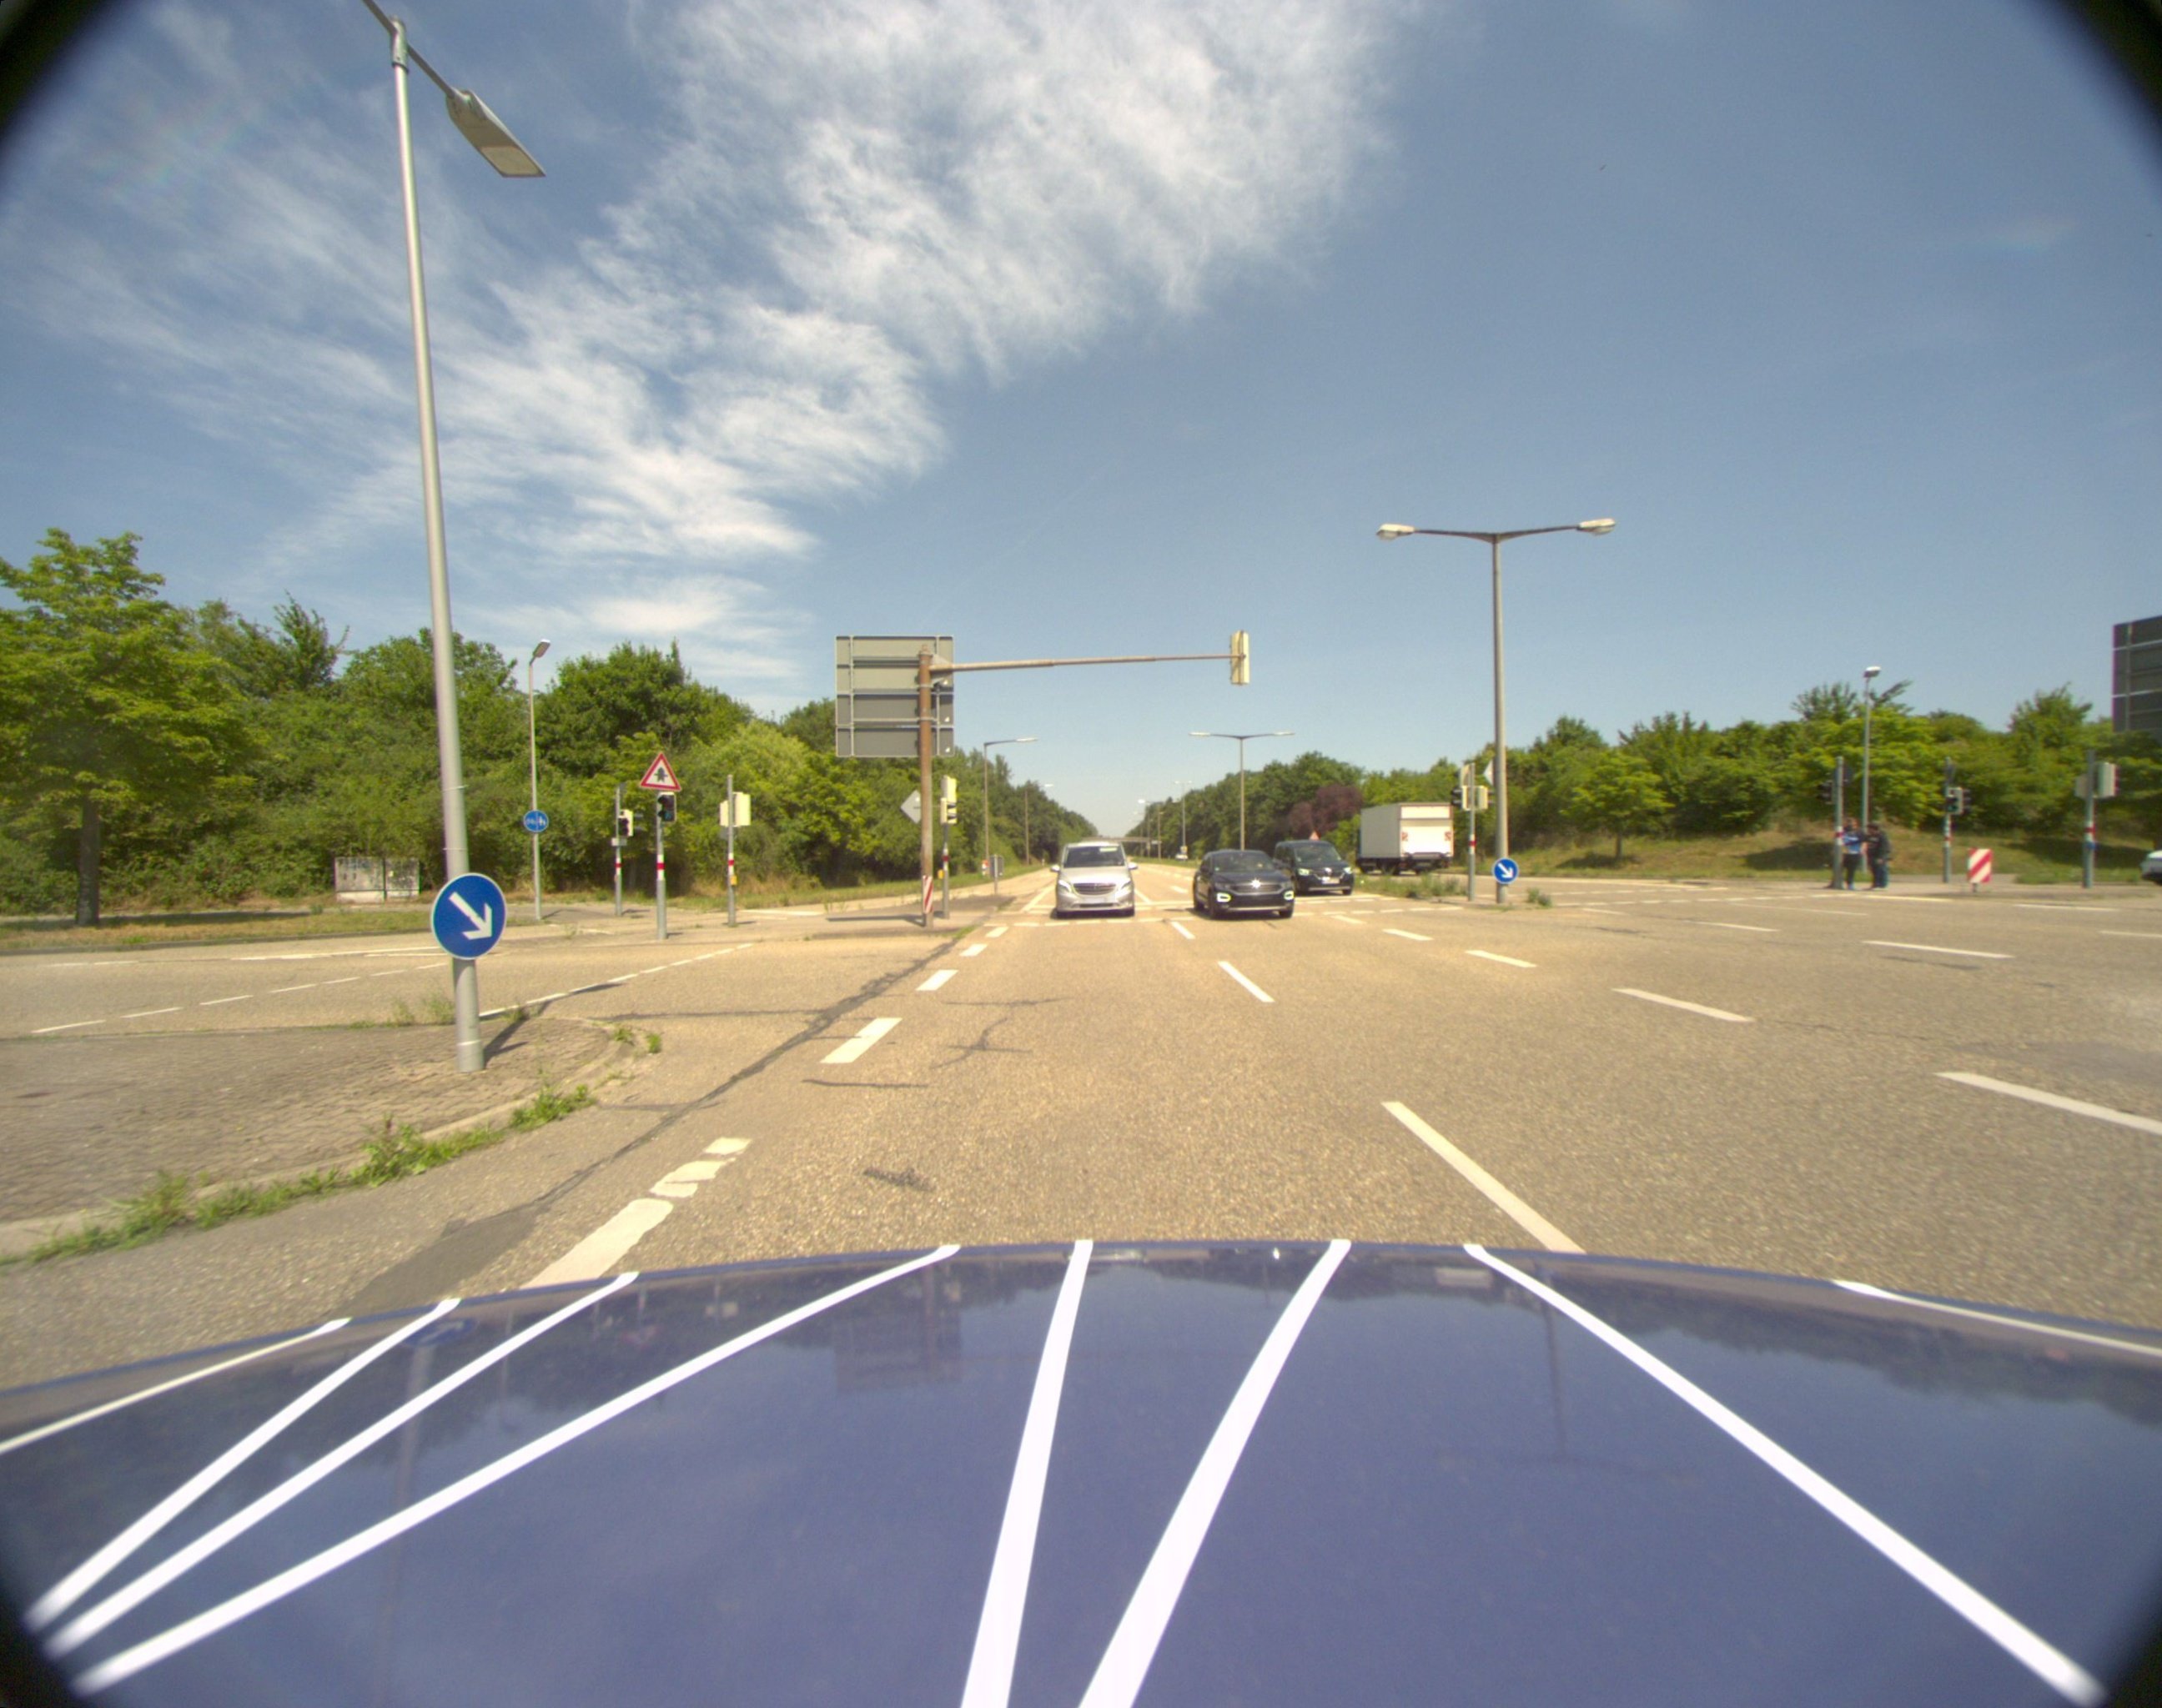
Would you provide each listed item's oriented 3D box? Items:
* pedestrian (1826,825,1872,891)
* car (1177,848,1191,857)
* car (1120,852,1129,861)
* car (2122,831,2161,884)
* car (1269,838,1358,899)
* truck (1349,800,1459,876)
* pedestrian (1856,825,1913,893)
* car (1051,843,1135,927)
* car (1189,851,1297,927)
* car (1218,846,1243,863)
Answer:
[{"bbox_3d":[20.520,0.099,20.323,0.582,1.726,0.794,-1,1,21],"label":"pedestrian"},{"bbox_3d":[18.287,-0.266,135.378,1.827,1.447,4.168,-1,0,-1],"label":"car"},{"bbox_3d":[9.647,0.546,169.126,1.735,1.815,4.321,-1,0,2],"label":"car"},{"bbox_3d":[33.211,0.111,21.444,4.301,1.492,1.882,0,-2,13],"label":"car"},{"bbox_3d":[7.619,0.424,25.352,1.735,1.815,4.321,-1,0,2],"label":"car"},{"bbox_3d":[16.670,-0.766,39.835,2.694,3.550,7.267,-1,0,1],"label":"truck"},{"bbox_3d":[20.404,0.136,19.319,0.723,1.689,0.776,-1,1,20],"label":"pedestrian"},{"bbox_3d":[0.333,0.670,19.222,1.764,1.794,4.855,-3,0,2],"label":"car"},{"bbox_3d":[3.691,0.732,17.944,1.738,1.503,3.970,-3,0,2],"label":"car"},{"bbox_3d":[14.637,0.049,74.481,1.711,1.653,4.223,-1,0,2],"label":"car"}]
